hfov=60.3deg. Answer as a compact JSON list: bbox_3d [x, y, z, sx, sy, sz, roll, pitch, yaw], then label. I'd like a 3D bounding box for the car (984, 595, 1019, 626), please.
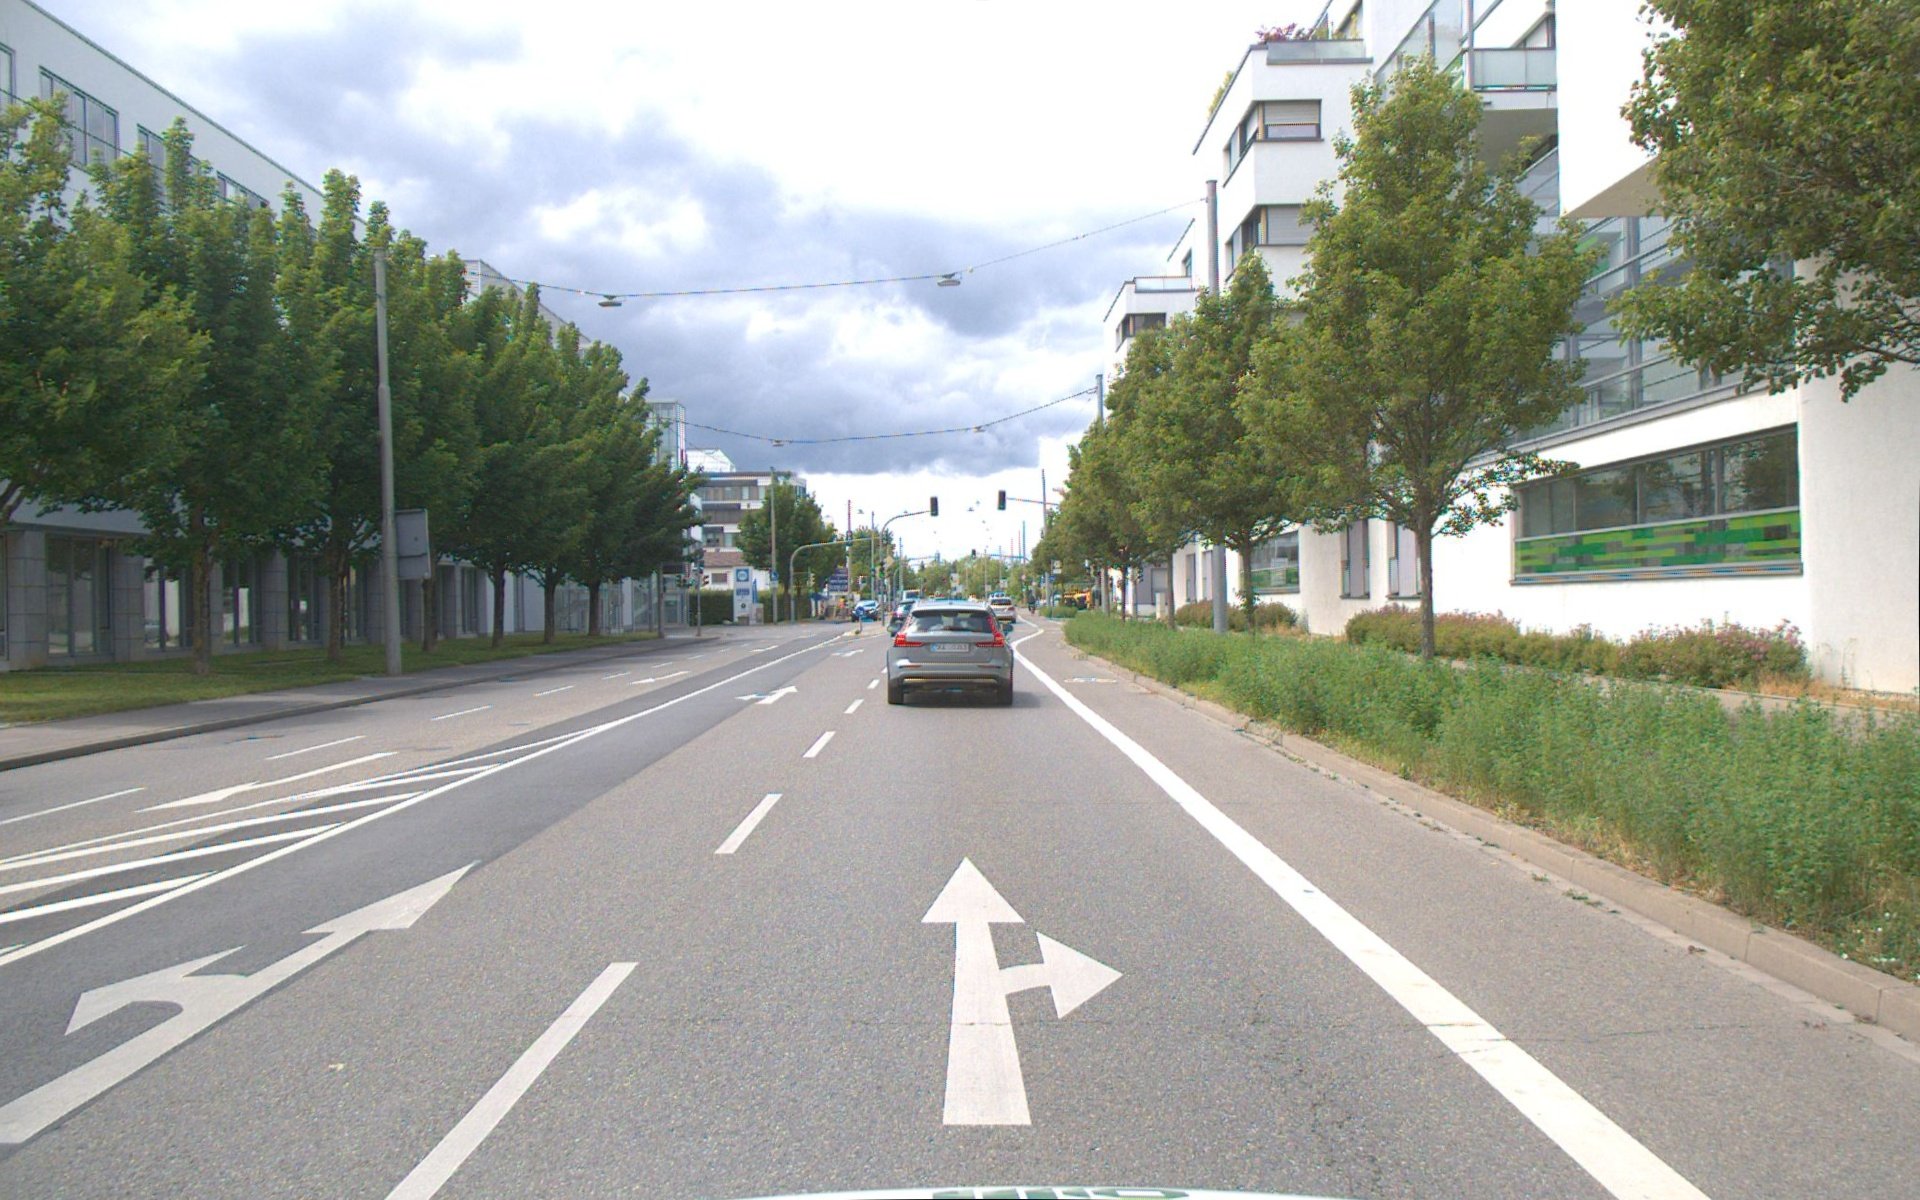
[{"bbox_3d":[2.417,0.625,96.338,1.952,1.724,4.000,1,-1,0],"label":"car"}]

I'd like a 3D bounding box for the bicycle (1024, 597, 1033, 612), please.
[{"bbox_3d":[5.397,0.368,130.157,0.625,1.081,1.978,-5,0,1],"label":"bicycle"}]

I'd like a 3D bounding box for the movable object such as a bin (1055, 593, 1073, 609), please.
[{"bbox_3d":[9.387,0.114,148.987,1.291,1.385,1.252,-2,-1,17],"label":"movable object such as a bin"}]

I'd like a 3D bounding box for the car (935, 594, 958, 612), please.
[{"bbox_3d":[-1.333,0.286,161.806,1.846,1.579,4.541,-2,-1,3],"label":"car"}]

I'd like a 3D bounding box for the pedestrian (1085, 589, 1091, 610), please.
[{"bbox_3d":[11.400,-0.037,147.278,0.496,1.796,0.501,0,-1,17],"label":"pedestrian"}]

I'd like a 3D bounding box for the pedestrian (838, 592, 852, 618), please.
[{"bbox_3d":[-9.005,0.403,129.350,0.714,2.049,0.805,0,-1,43],"label":"pedestrian"}]

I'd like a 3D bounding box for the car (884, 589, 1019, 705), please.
[{"bbox_3d":[-0.060,0.681,24.917,1.856,1.581,4.000,1,-1,1],"label":"car"}]

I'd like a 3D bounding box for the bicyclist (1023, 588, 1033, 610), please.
[{"bbox_3d":[5.360,-0.087,130.360,0.625,1.704,0.890,-4,0,1],"label":"bicyclist"}]

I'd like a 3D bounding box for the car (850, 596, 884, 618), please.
[{"bbox_3d":[-6.759,0.525,121.080,1.982,1.470,5.050,-3,0,1],"label":"car"}]

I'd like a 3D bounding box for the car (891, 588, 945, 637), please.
[{"bbox_3d":[-1.584,0.478,62.668,1.953,1.747,3.999,1,-1,-1],"label":"car"}]

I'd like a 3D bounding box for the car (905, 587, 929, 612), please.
[{"bbox_3d":[-4.600,0.001,176.400,2.098,2.515,6.074,-3,0,2],"label":"car"}]

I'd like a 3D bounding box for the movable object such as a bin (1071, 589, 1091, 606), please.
[{"bbox_3d":[10.892,-0.234,149.179,1.298,1.460,1.246,-2,-2,38],"label":"movable object such as a bin"}]
